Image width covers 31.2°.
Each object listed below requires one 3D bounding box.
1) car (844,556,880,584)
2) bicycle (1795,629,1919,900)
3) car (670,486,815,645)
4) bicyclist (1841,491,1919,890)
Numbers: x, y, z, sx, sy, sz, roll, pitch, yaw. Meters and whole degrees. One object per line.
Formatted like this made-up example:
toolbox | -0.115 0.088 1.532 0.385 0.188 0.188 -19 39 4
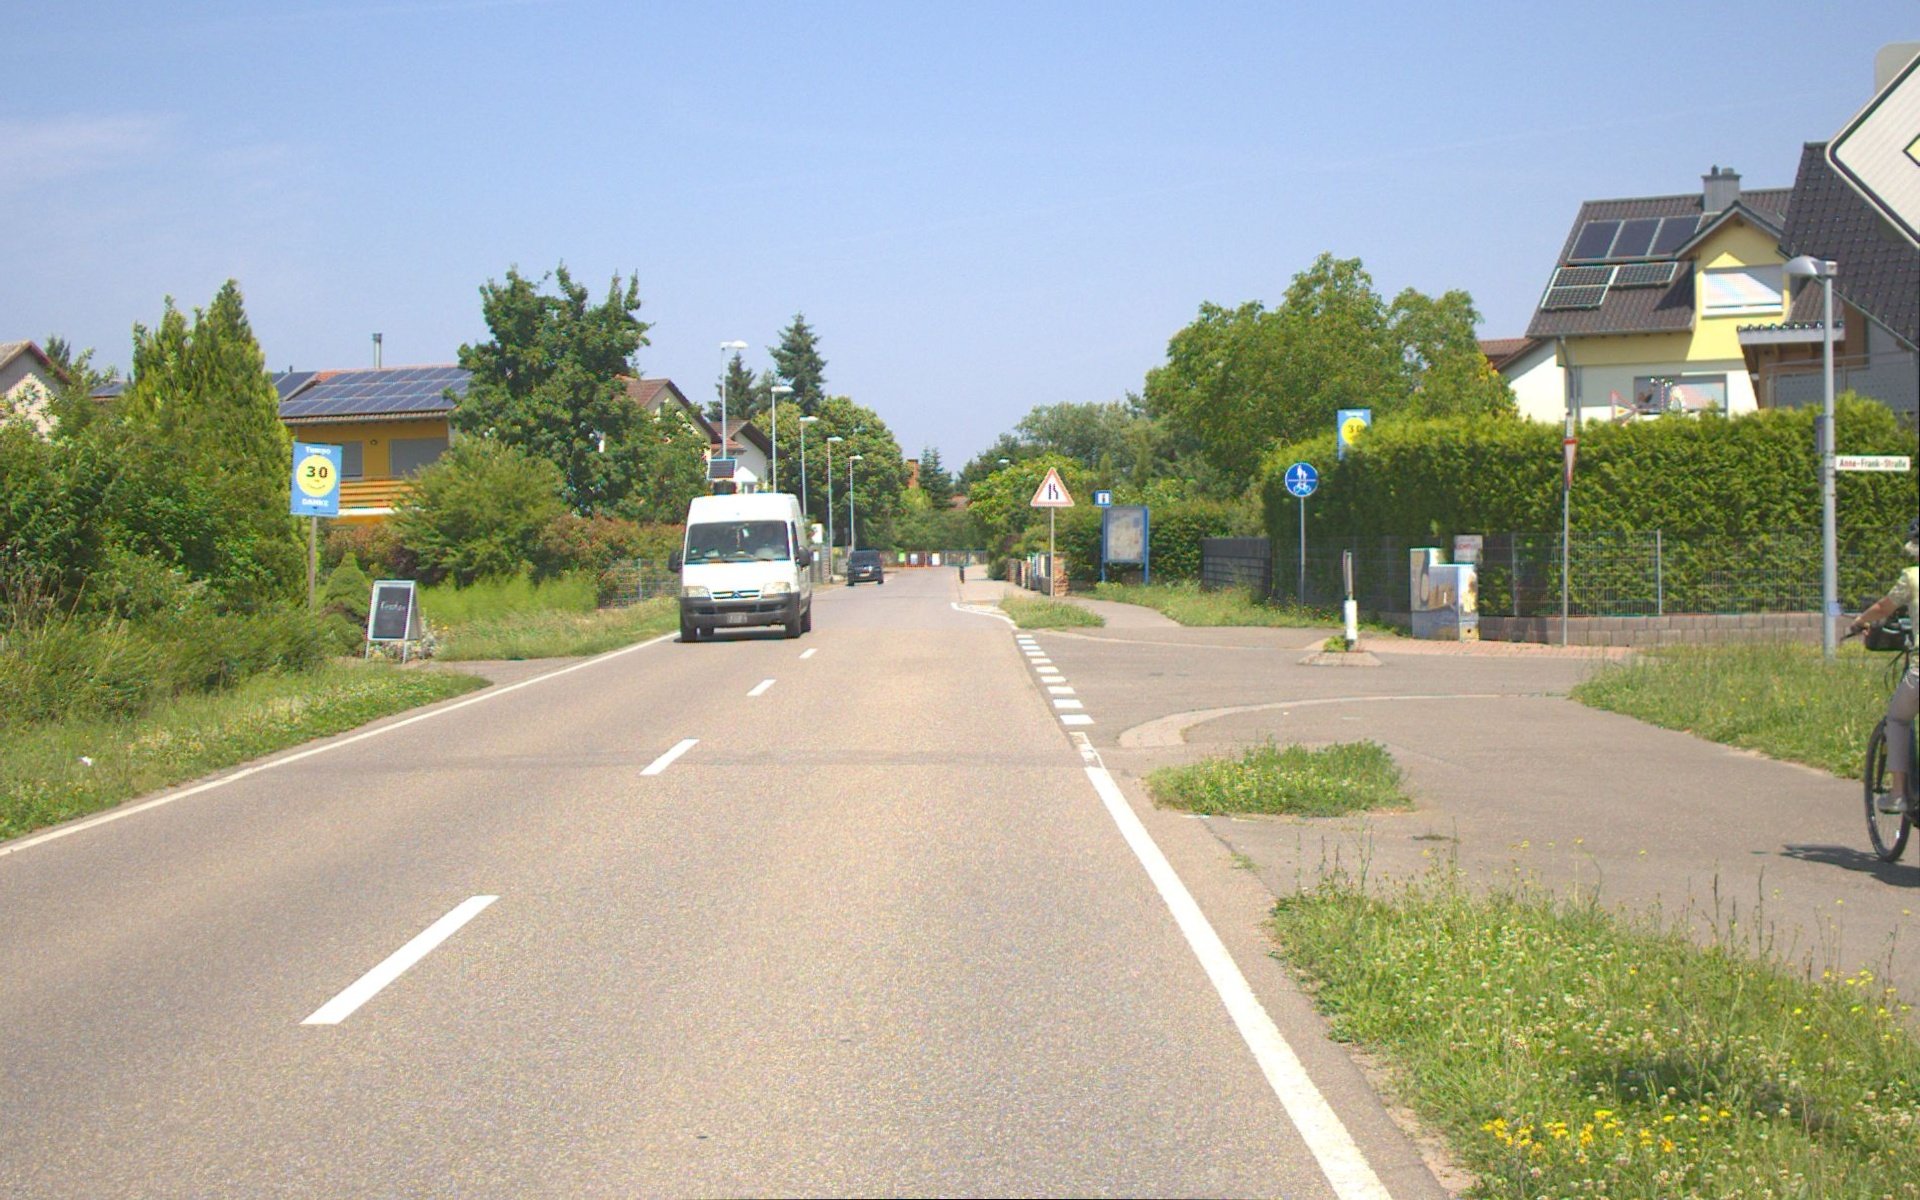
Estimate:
car | -5.121 -1.584 179.602 1.759 1.380 3.453 -2 1 -1
bicycle | 4.702 0.769 16.868 0.610 1.155 2.274 1 2 -1
car | -3.674 -0.629 59.073 2.077 2.533 5.873 -2 1 0
bicyclist | 4.719 0.417 16.646 0.645 1.883 0.861 1 2 -1
